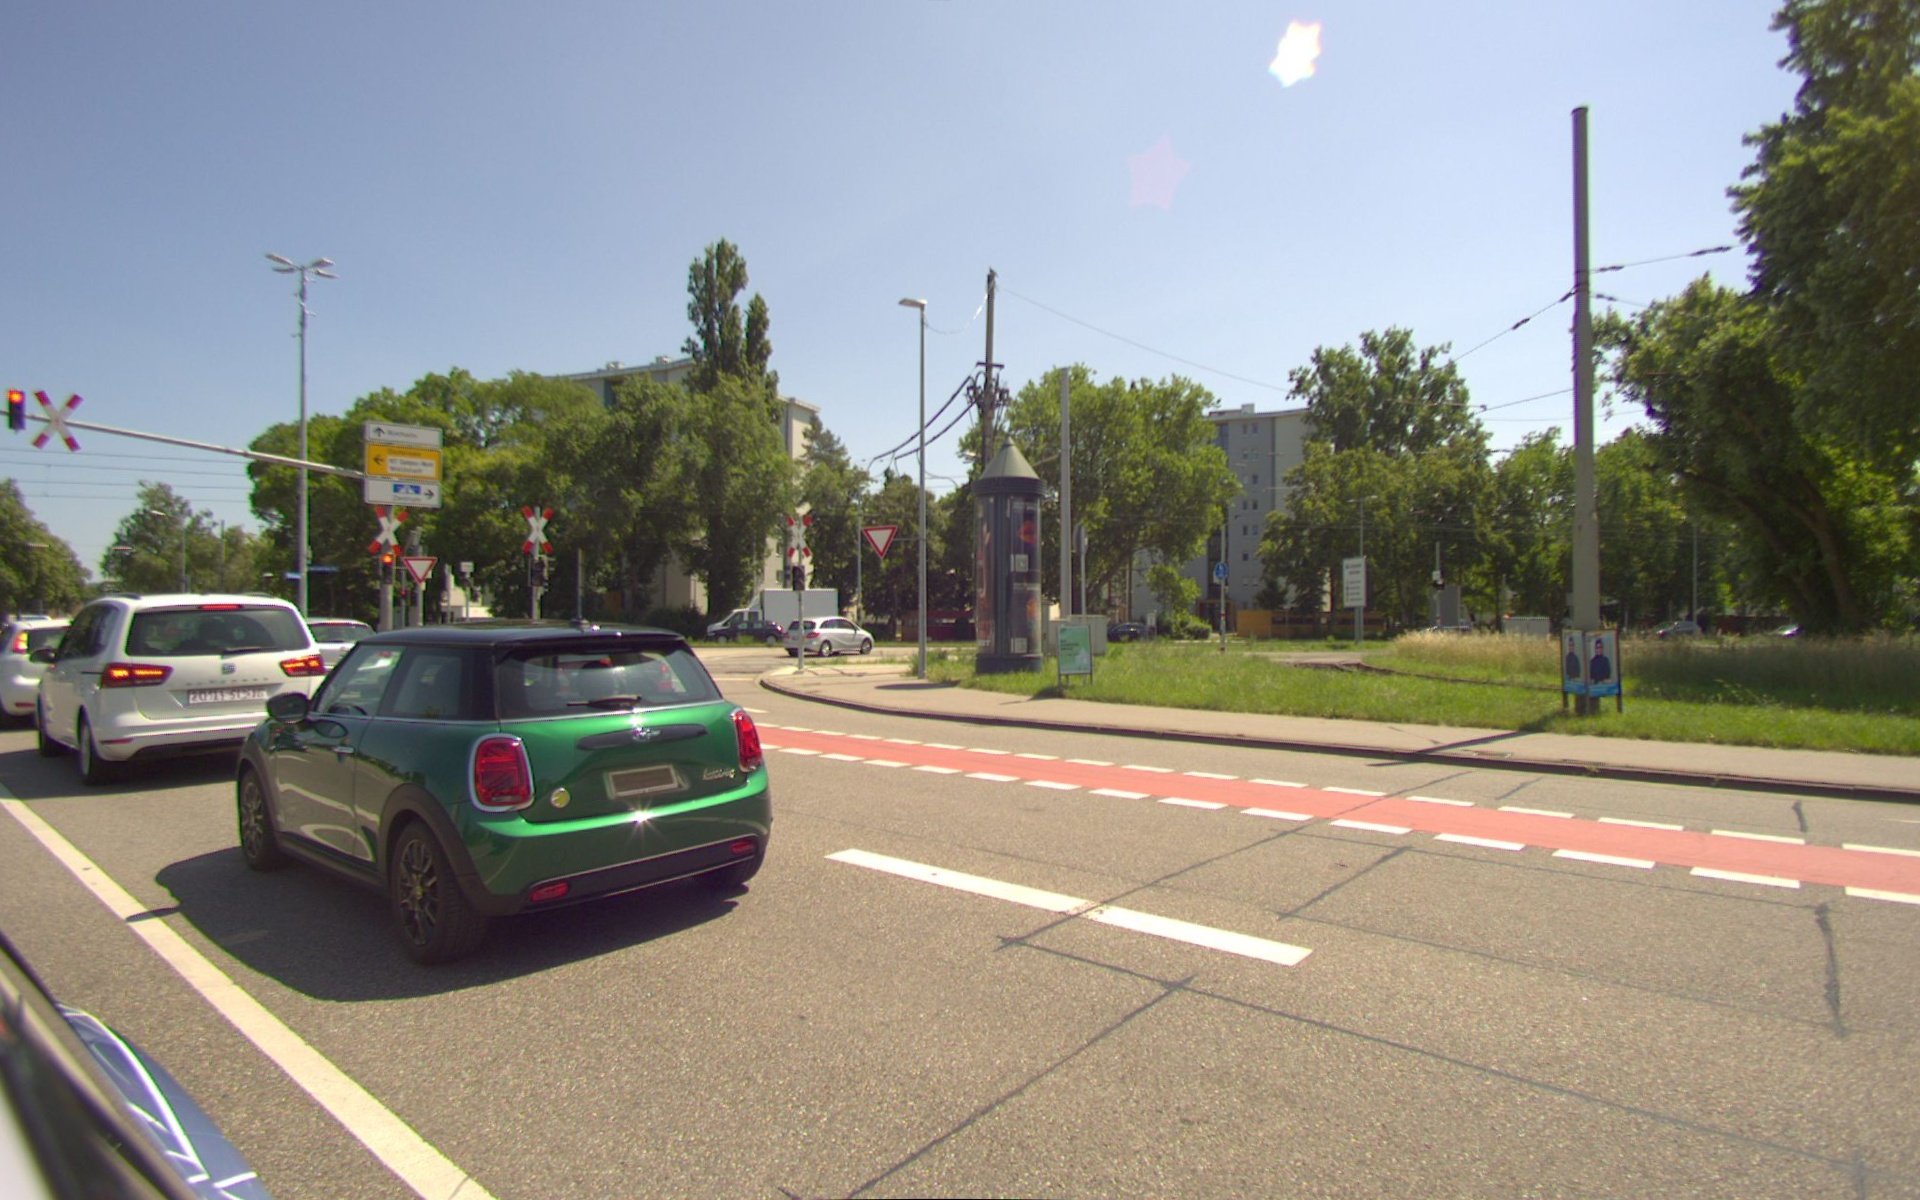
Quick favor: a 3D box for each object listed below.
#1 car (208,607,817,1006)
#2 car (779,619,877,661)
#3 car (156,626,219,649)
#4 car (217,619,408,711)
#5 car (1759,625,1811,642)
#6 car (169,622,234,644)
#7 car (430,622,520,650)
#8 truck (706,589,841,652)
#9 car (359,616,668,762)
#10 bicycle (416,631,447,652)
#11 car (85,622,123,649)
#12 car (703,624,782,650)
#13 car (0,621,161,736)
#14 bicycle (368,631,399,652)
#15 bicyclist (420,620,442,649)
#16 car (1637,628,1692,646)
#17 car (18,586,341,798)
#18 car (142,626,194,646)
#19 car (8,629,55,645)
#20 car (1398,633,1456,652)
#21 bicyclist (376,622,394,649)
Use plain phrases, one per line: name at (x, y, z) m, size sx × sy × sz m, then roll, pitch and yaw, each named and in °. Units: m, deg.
car at (-2.753, 0.808, 5.742) m, size 3.989 × 1.474 × 1.704 m, roll -2°, pitch -1°, yaw 42°
car at (-5.227, 1.645, 40.625) m, size 1.740 × 1.558 × 4.214 m, roll -3°, pitch -4°, yaw 29°
car at (-54.602, 2.639, 71.519) m, size 3.438 × 1.439 × 1.586 m, roll 0°, pitch -3°, yaw -42°
car at (-11.747, 1.095, 18.235) m, size 4.411 × 1.467 × 1.772 m, roll -1°, pitch -2°, yaw 42°
car at (66.792, 2.717, 81.912) m, size 3.582 × 1.296 × 1.610 m, roll 0°, pitch -4°, yaw -20°
car at (-51.954, 2.254, 69.348) m, size 3.440 × 1.439 × 1.585 m, roll 0°, pitch -3°, yaw -44°
car at (-25.983, 1.936, 54.337) m, size 4.142 × 1.436 × 1.854 m, roll 0°, pitch -2°, yaw -18°
truck at (-11.054, 1.253, 59.955) m, size 7.579 × 3.560 × 2.596 m, roll 0°, pitch -4°, yaw -18°
car at (-5.532, 0.948, 12.292) m, size 4.282 × 1.468 × 1.742 m, roll -1°, pitch -2°, yaw 40°
bicycle at (-29.730, 2.310, 56.883) m, size 1.797 × 1.071 × 0.610 m, roll 2°, pitch 1°, yaw 27°
car at (-56.870, 2.408, 67.266) m, size 1.782 × 1.731 × 4.351 m, roll 1°, pitch -3°, yaw -39°
car at (-11.721, 1.996, 54.542) m, size 3.931 × 1.296 × 1.752 m, roll 0°, pitch -4°, yaw -20°
car at (-13.417, 1.053, 14.980) m, size 3.958 × 1.448 × 1.750 m, roll -1°, pitch 0°, yaw 40°
bicycle at (-31.839, 2.277, 55.899) m, size 1.796 × 1.071 × 0.610 m, roll 0°, pitch 0°, yaw 27°
bicyclist at (-29.739, 1.950, 56.917) m, size 0.905 × 1.556 × 0.642 m, roll 2°, pitch 1°, yaw 27°
car at (53.273, 2.831, 76.501) m, size 3.582 × 1.296 × 1.610 m, roll 0°, pitch -4°, yaw -20°
car at (-8.312, 0.808, 10.591) m, size 4.828 × 1.736 × 1.793 m, roll -2°, pitch -1°, yaw 41°
car at (-68.276, 3.078, 87.250) m, size 3.438 × 1.566 × 1.586 m, roll 0°, pitch -3°, yaw -42°
car at (-94.935, 3.742, 103.505) m, size 3.438 × 1.487 × 1.586 m, roll 0°, pitch -3°, yaw -42°
car at (33.195, 3.040, 71.903) m, size 3.582 × 1.296 × 1.610 m, roll 0°, pitch -4°, yaw -20°
bicyclist at (-31.737, 1.947, 55.846) m, size 0.626 × 1.479 × 0.611 m, roll 1°, pitch 0°, yaw 26°
